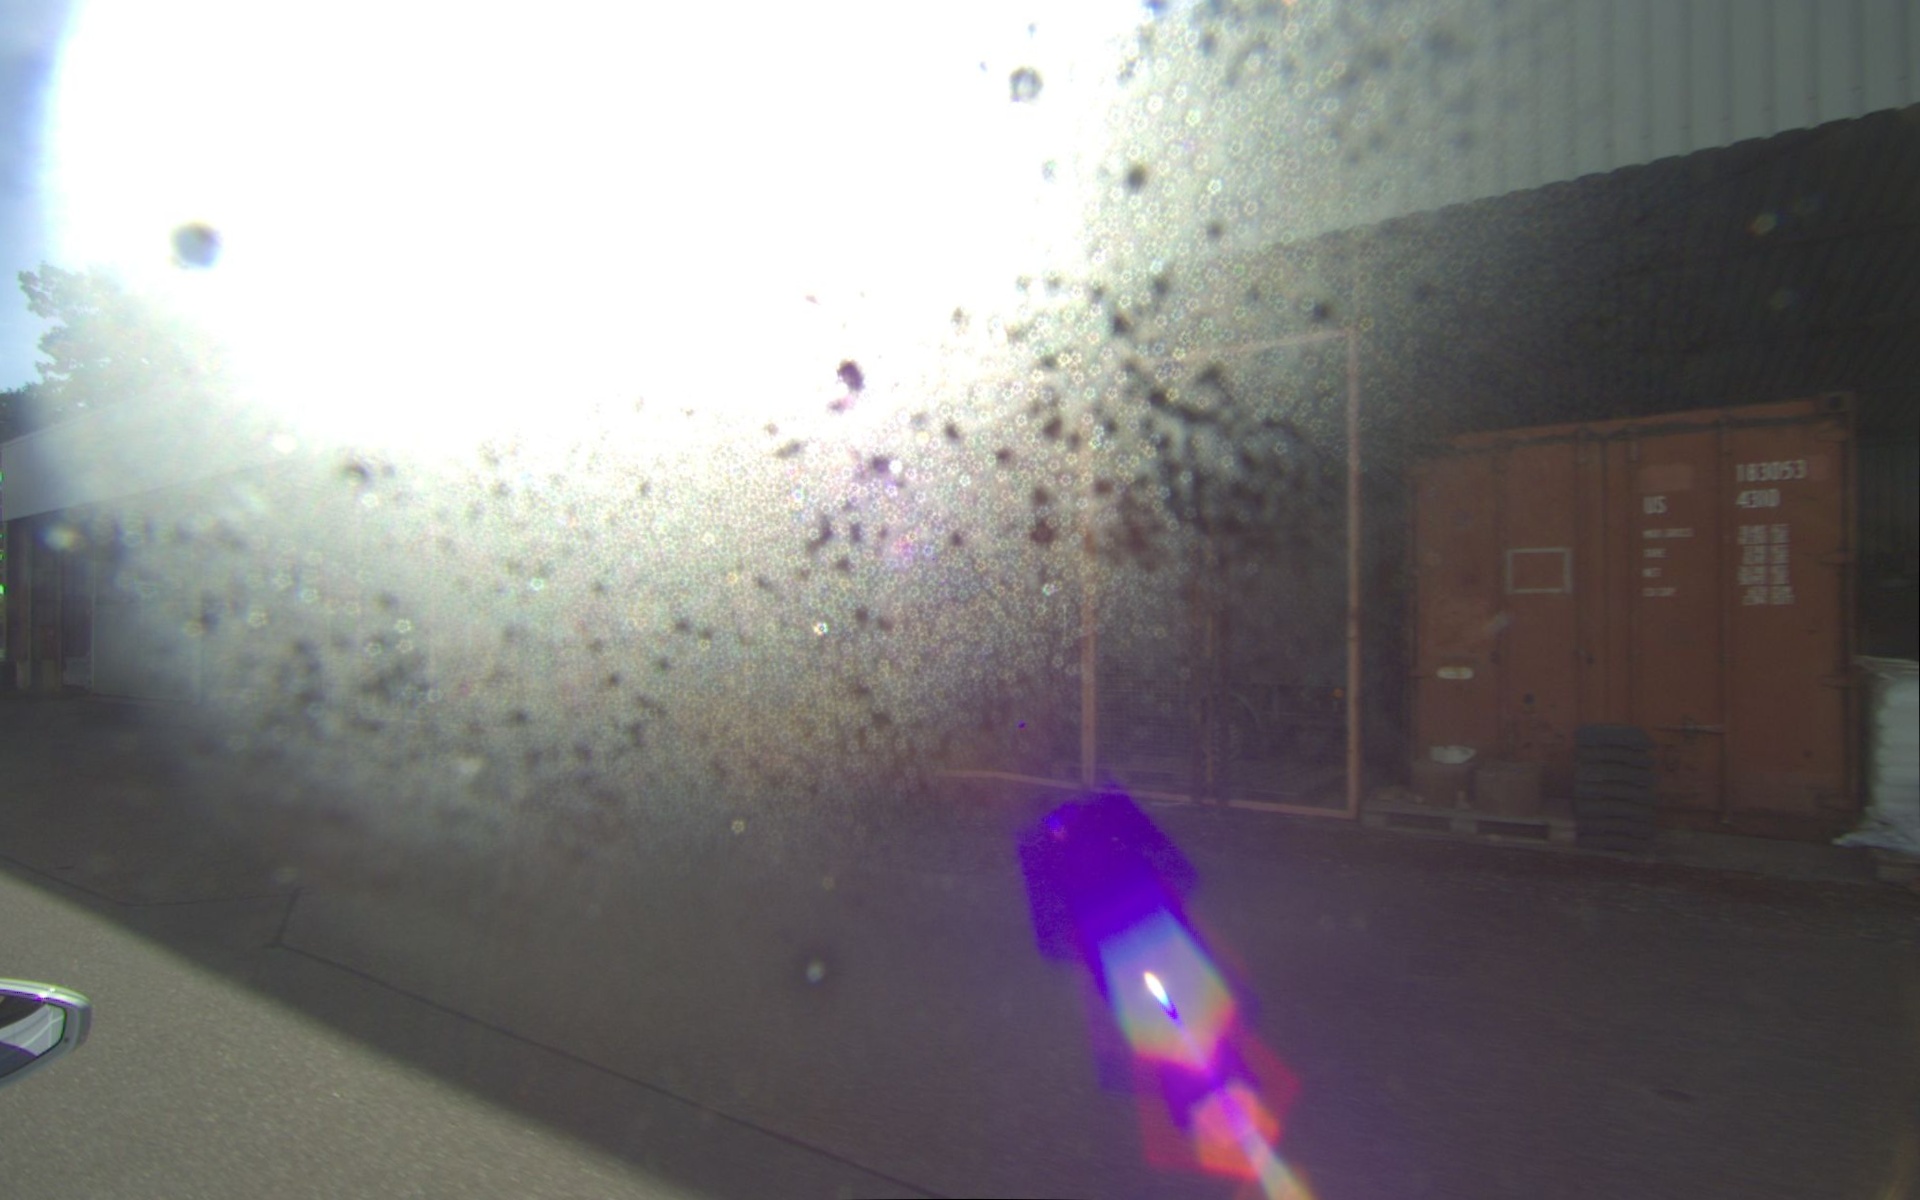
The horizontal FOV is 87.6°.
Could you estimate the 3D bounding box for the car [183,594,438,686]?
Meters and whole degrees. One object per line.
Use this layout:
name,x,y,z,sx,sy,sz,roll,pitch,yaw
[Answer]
car,-15.233,0.927,23.818,1.968,1.940,4.769,-1,-2,26

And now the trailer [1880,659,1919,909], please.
trailer,5.204,0.847,4.469,1.525,1.133,0.550,-1,0,32

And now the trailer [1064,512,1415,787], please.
trailer,2.660,0.415,9.467,2.764,2.172,1.916,-1,0,32
